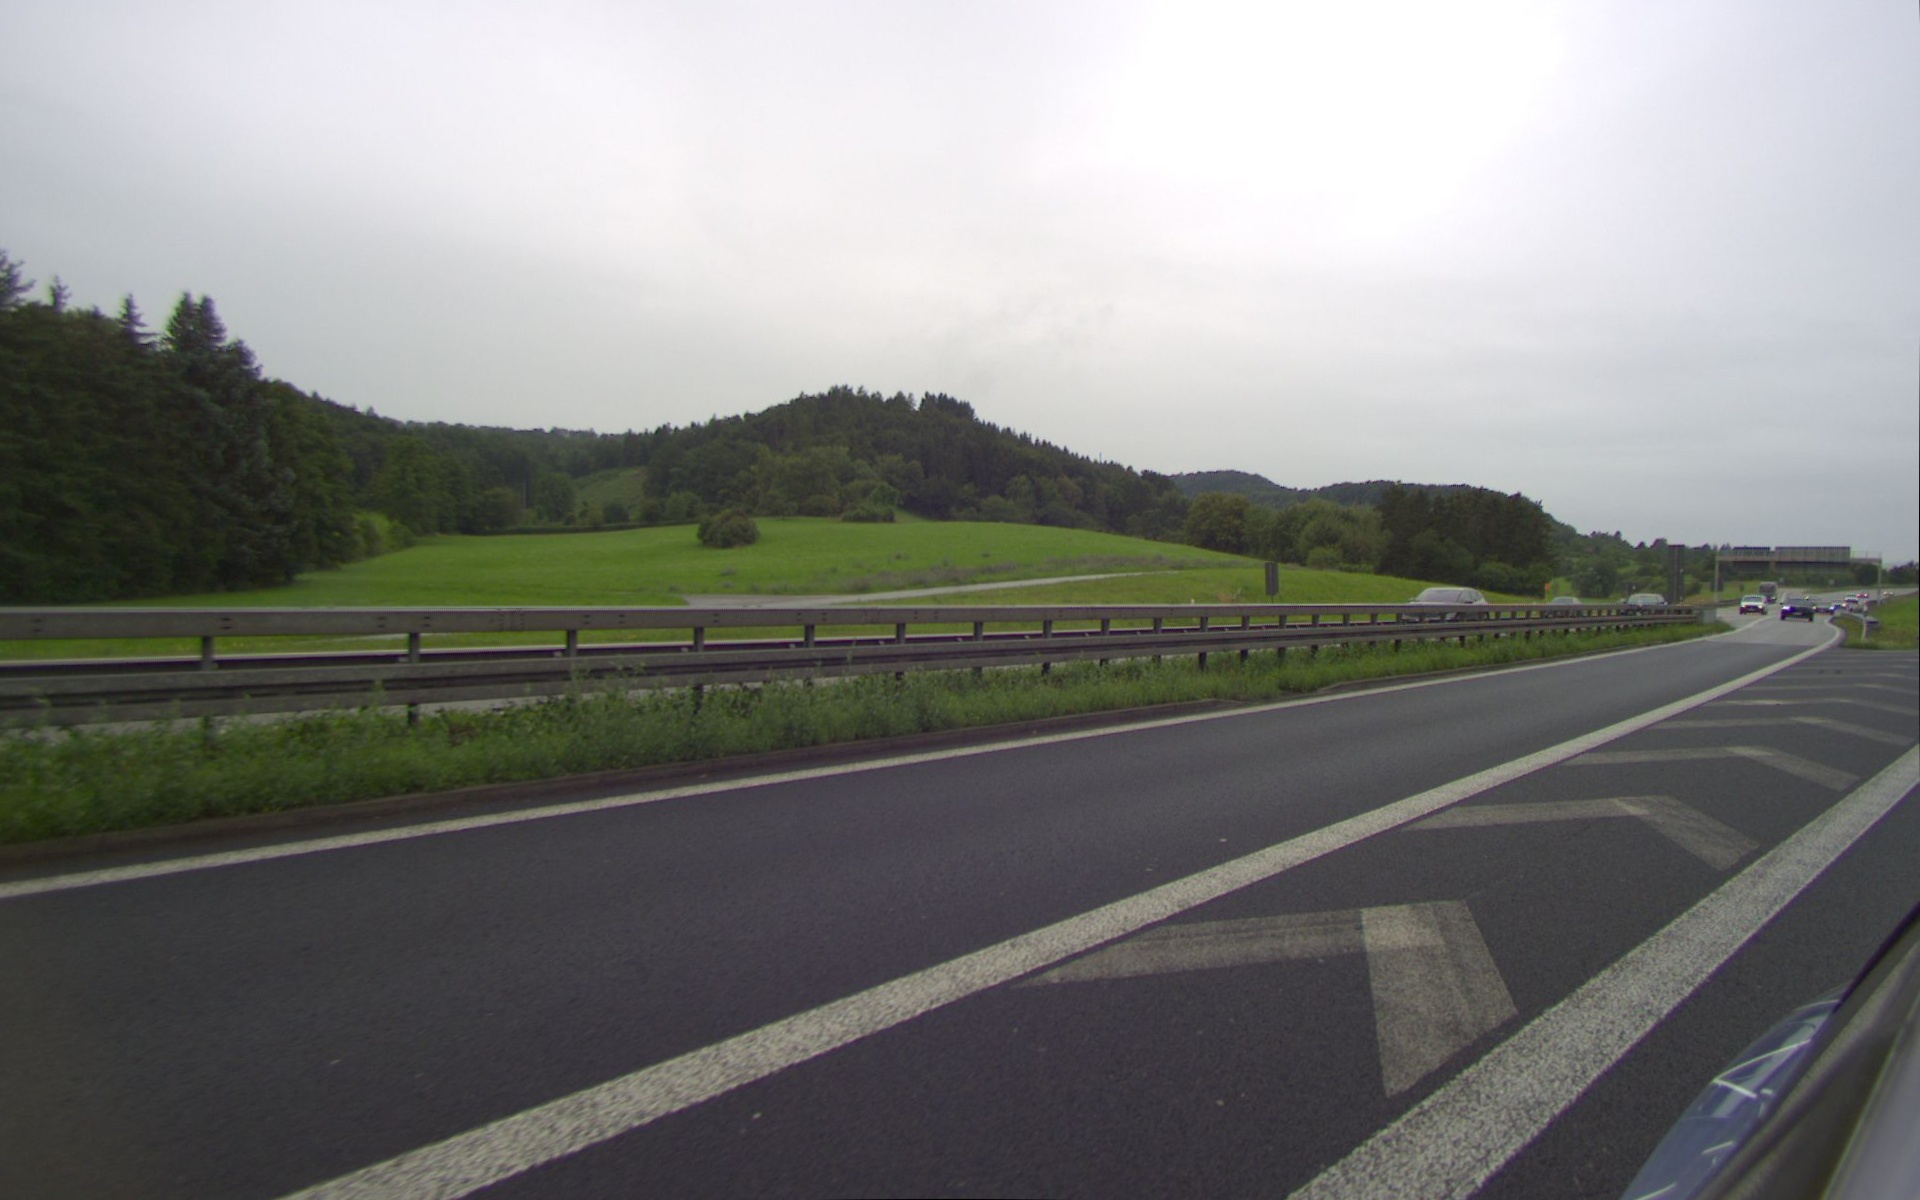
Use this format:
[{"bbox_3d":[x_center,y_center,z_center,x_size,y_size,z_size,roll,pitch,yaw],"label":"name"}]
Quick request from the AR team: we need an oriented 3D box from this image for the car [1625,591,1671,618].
[{"bbox_3d":[38.061,0.221,55.956,1.665,1.400,4.065,0,1,41],"label":"car"}]

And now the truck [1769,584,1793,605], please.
[{"bbox_3d":[155.937,-1.078,192.121,2.791,3.950,9.872,0,0,43],"label":"truck"}]

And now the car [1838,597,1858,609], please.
[{"bbox_3d":[128.622,0.425,146.584,1.909,1.715,4.644,0,1,44],"label":"car"}]

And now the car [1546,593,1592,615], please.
[{"bbox_3d":[42.893,0.268,71.210,1.898,1.473,4.638,0,1,42],"label":"car"}]

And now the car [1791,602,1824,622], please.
[{"bbox_3d":[63.198,0.867,75.493,1.860,1.374,4.501,0,1,40],"label":"car"}]

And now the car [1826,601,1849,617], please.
[{"bbox_3d":[95.711,0.968,110.403,1.907,1.715,4.648,0,1,41],"label":"car"}]

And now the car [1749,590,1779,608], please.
[{"bbox_3d":[77.651,-0.085,97.723,1.909,1.715,4.644,0,1,44],"label":"car"}]

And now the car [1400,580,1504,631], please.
[{"bbox_3d":[16.733,0.148,34.335,4.567,1.630,1.771,0,1,-44],"label":"car"}]
